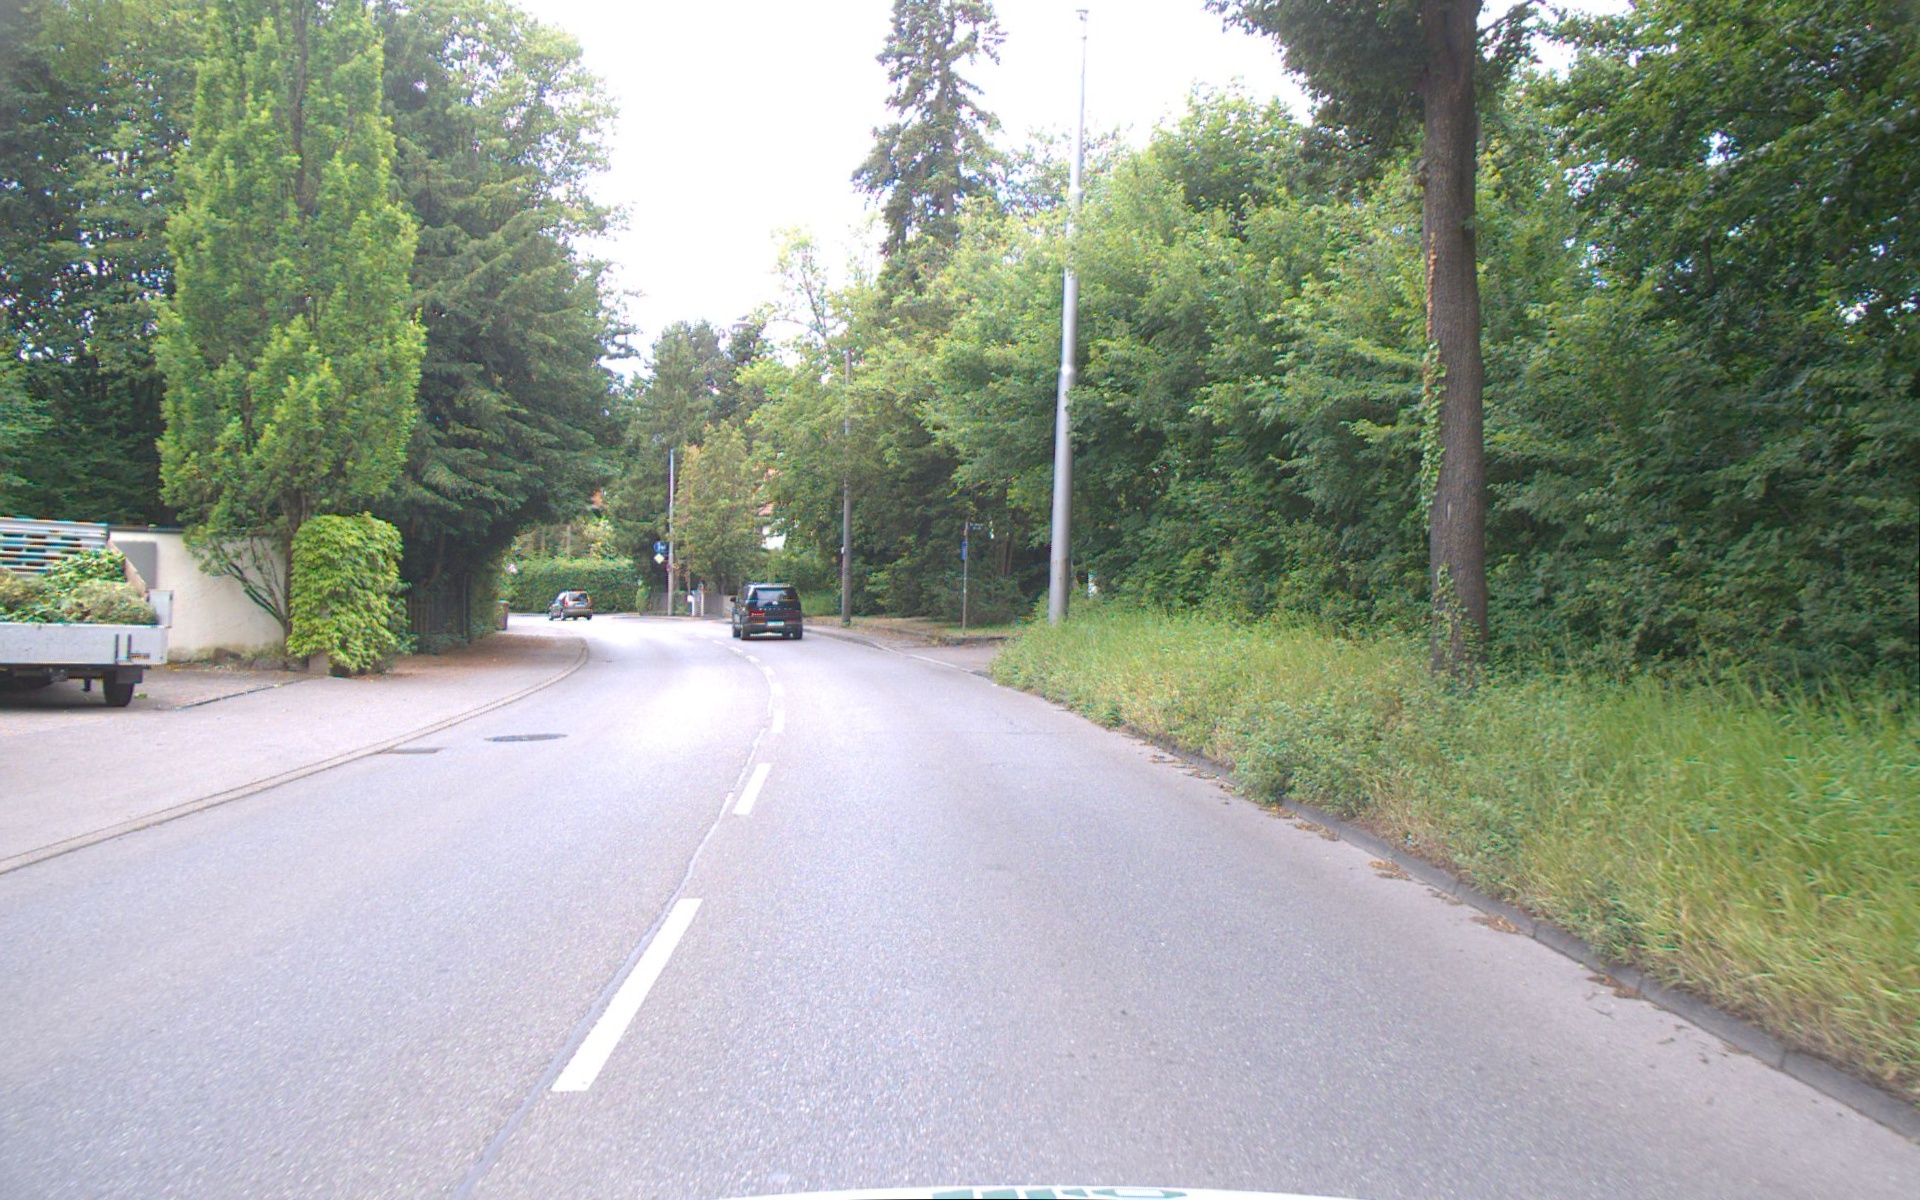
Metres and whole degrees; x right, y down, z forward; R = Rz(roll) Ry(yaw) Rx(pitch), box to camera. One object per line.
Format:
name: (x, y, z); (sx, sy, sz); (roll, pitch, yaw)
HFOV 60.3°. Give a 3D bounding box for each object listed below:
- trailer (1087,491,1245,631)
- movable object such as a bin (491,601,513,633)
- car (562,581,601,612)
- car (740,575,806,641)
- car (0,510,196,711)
trailer: (4.463, -0.835, 36.025); (3.062, 2.950, 1.588); (0, 0, -13)
movable object such as a bin: (-16.938, 0.627, 61.194); (0.729, 1.161, 0.643); (2, -1, -18)
car: (-21.640, -0.228, 94.493); (1.961, 1.646, 3.984); (1, 1, -15)
car: (-5.891, 0.214, 51.747); (1.956, 1.914, 3.993); (1, 1, -8)
car: (-11.224, 0.083, 19.903); (2.403, 2.109, 5.284); (1, 0, -40)
